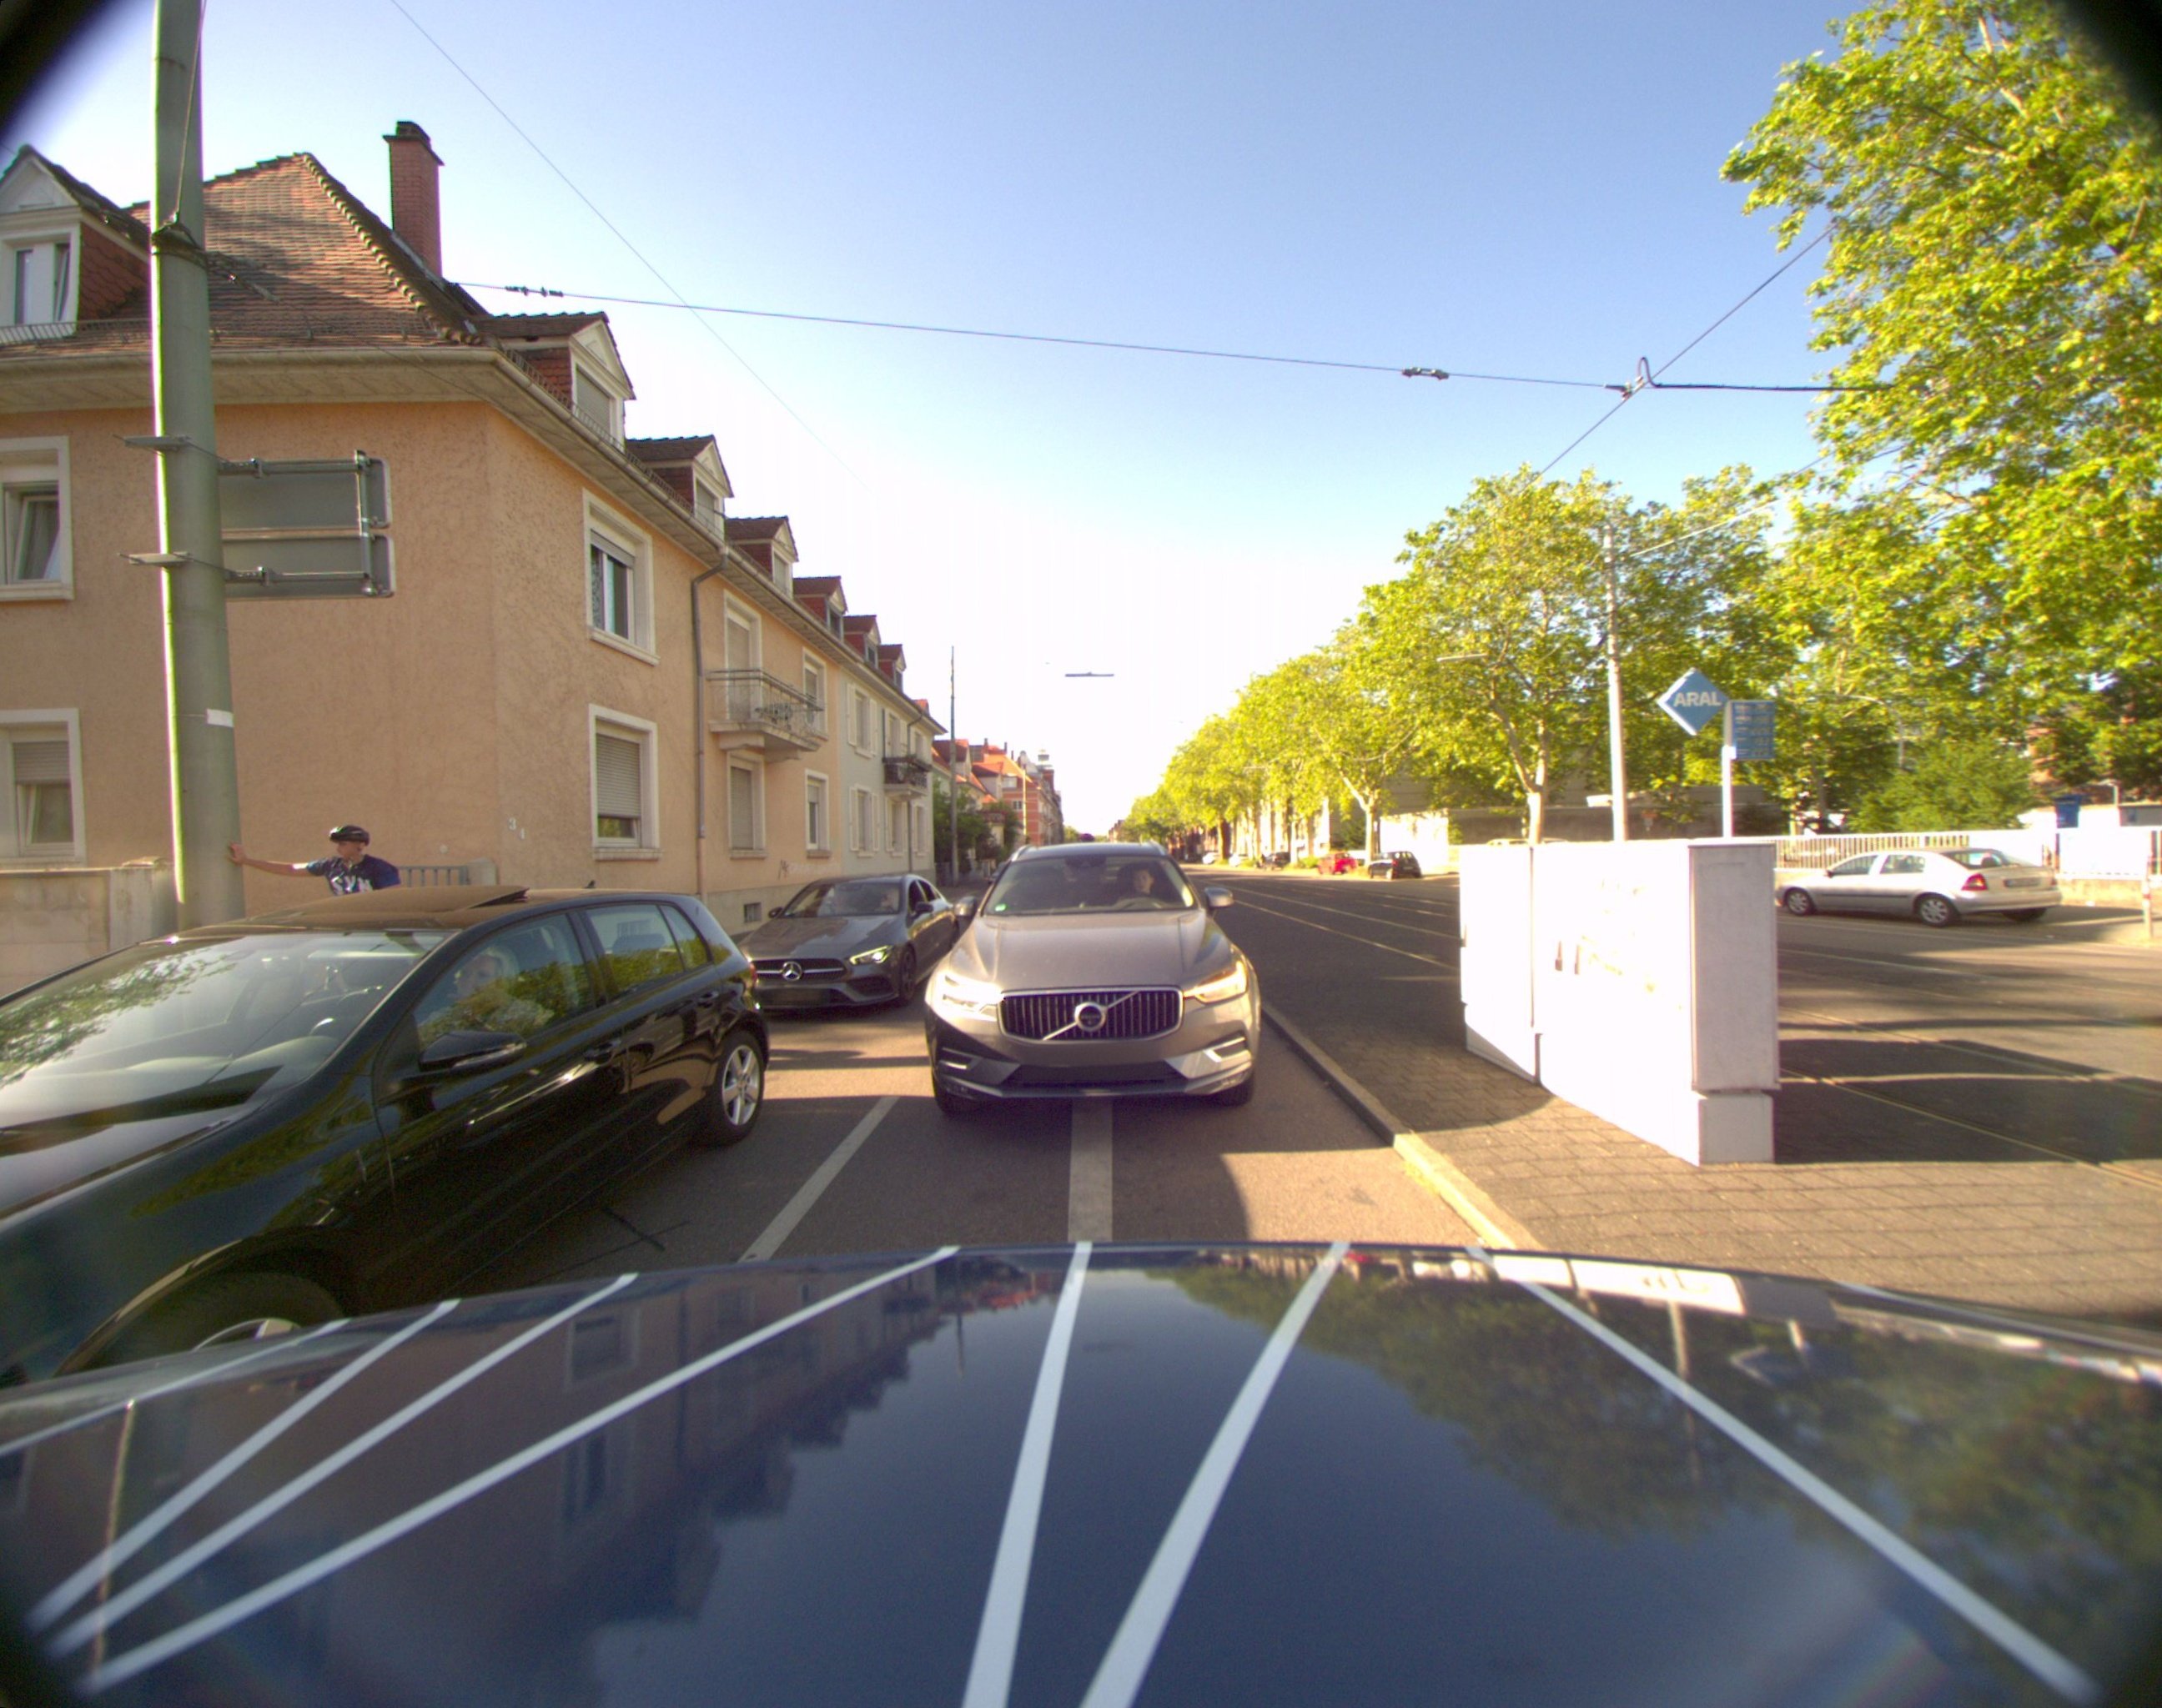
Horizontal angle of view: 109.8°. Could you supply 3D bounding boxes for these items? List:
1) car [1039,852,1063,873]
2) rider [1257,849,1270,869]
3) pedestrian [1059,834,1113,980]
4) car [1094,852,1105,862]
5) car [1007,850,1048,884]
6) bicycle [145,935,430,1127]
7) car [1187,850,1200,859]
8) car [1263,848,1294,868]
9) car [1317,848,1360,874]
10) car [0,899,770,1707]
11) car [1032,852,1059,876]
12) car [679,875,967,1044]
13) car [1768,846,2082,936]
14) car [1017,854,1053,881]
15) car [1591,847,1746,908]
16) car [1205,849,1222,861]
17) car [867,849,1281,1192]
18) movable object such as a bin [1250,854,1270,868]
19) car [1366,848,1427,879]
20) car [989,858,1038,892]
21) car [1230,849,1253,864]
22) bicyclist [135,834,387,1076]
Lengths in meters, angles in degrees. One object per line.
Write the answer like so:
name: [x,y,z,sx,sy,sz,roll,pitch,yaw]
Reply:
car: [-2.601,0.699,67.277,1.825,1.701,4.334,-2,1,1]
rider: [14.937,0.399,62.106,0.725,1.639,1.106,-2,1,-1]
pedestrian: [0.067,0.676,9.932,0.609,1.832,0.599,-2,1,1]
car: [3.346,0.582,136.680,1.851,1.640,3.999,-2,1,1]
car: [-2.913,0.692,42.391,1.825,1.701,4.334,-2,1,1]
bicycle: [-5.869,1.248,5.769,0.556,1.069,1.624,2,0,-7]
car: [18.548,0.065,125.555,1.661,1.452,3.730,-4,1,3]
car: [17.077,0.336,65.958,1.754,1.582,3.878,-4,1,3]
car: [16.928,0.425,50.078,1.661,1.486,3.377,-4,1,3]
car: [-2.807,1.045,2.639,1.717,1.430,3.990,-2,1,1]
car: [-2.789,0.777,60.910,1.825,1.701,4.334,-2,1,1]
car: [-2.716,1.036,9.232,1.825,1.422,4.491,-2,-1,1]
car: [16.193,0.631,14.950,1.687,1.358,3.989,-6,0,1]
car: [-2.797,0.802,46.987,1.825,1.424,4.334,-2,1,1]
car: [16.355,0.602,21.392,1.619,1.436,3.606,-4,1,3]
car: [17.568,0.107,100.679,1.661,1.452,3.730,-4,1,3]
car: [0.118,0.799,5.819,1.924,1.579,4.387,-2,1,4]
movable object such as a bin: [14.933,0.612,63.440,1.178,1.097,1.834,-2,1,-1]
car: [16.825,0.451,40.683,1.723,1.436,3.769,-4,1,3]
car: [-3.237,0.966,37.137,1.825,1.422,4.334,-2,1,1]
car: [17.613,0.250,83.464,1.754,1.532,3.878,-4,1,3]
bicyclist: [-6.117,0.722,5.729,1.021,1.684,0.729,2,0,-7]
